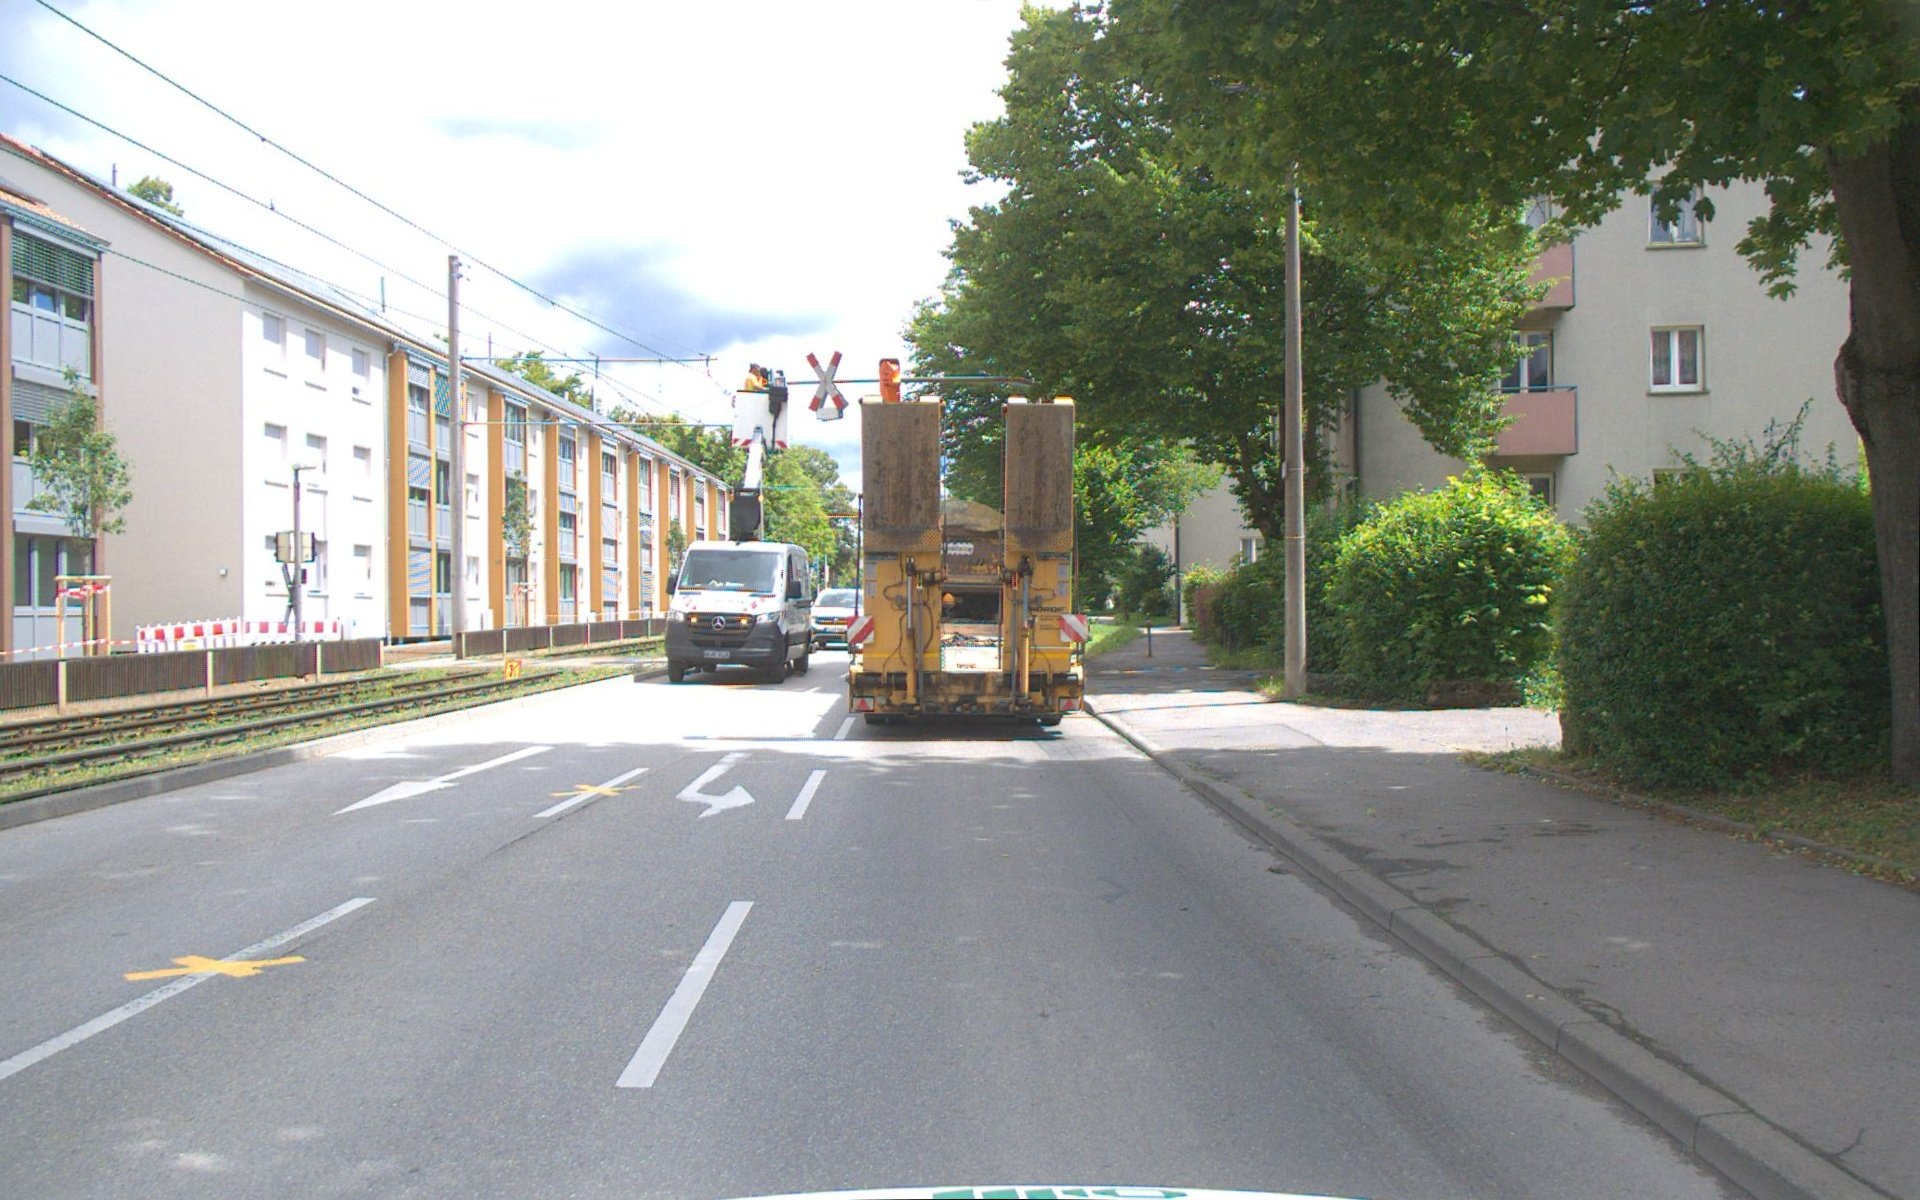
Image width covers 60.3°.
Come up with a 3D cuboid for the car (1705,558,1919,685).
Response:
[{"bbox_3d":[11.240,0.248,21.951,1.627,1.506,3.696,-2,0,11],"label":"car"}]

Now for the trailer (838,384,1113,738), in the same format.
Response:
[{"bbox_3d":[0.158,-0.432,22.567,2.765,3.585,11.051,1,0,0],"label":"trailer"}]

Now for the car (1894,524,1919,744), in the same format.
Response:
[{"bbox_3d":[7.978,0.245,10.909,1.773,1.678,4.003,-1,0,8],"label":"car"}]

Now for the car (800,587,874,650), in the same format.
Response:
[{"bbox_3d":[-3.232,0.476,44.143,1.683,1.579,3.917,1,0,-1],"label":"car"}]

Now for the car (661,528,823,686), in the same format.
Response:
[{"bbox_3d":[-3.706,0.084,29.310,1.952,2.473,6.322,1,0,0],"label":"car"}]

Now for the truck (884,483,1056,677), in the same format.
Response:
[{"bbox_3d":[0.190,-0.366,31.922,2.857,3.222,7.680,1,0,0],"label":"truck"}]
